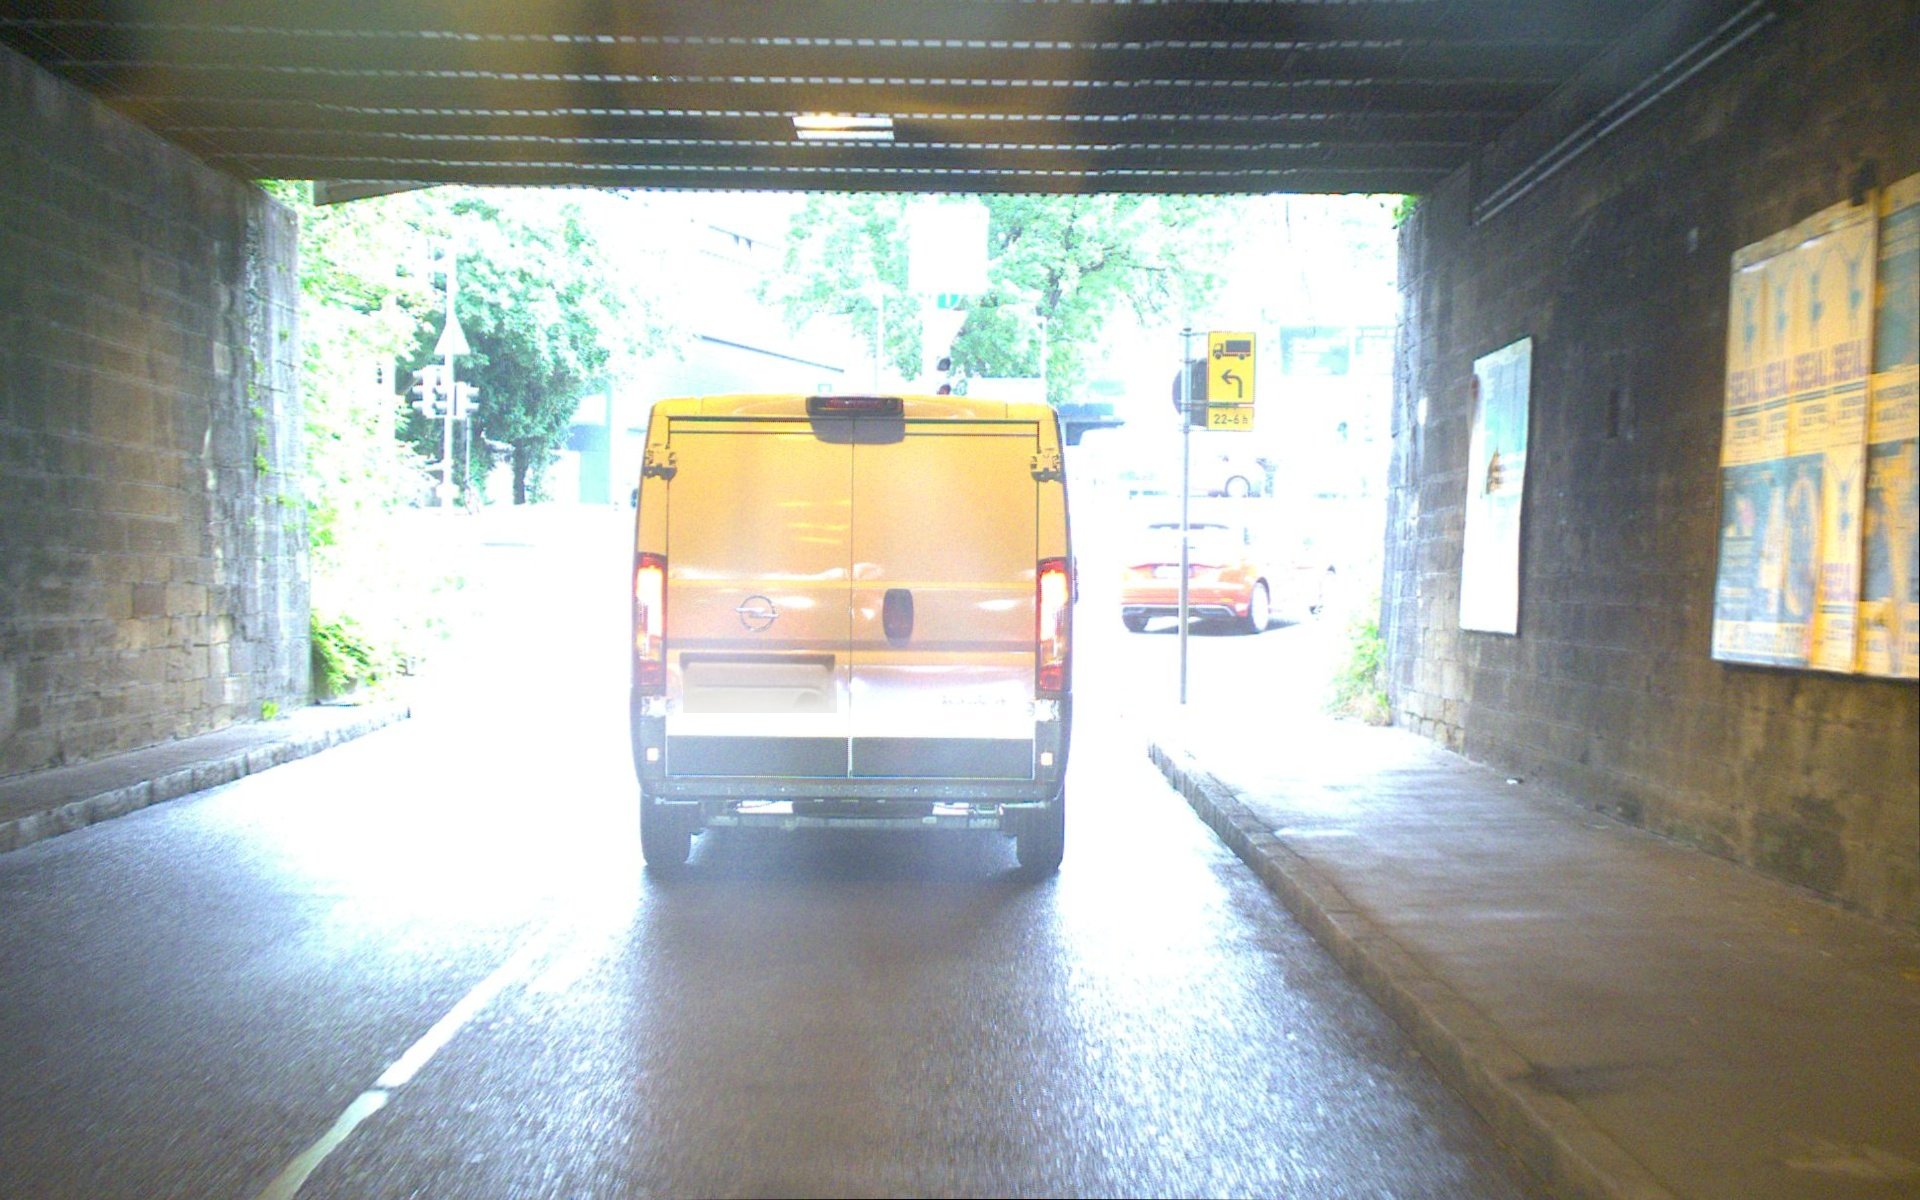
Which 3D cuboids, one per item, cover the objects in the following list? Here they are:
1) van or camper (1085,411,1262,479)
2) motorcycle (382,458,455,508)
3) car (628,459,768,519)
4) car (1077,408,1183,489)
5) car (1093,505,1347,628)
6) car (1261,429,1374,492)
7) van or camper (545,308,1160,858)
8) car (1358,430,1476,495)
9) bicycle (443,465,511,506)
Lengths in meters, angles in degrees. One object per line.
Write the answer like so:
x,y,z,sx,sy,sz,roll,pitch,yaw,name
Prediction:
6.509,-4.697,104.538,5.309,2.007,2.078,0,1,6,van or camper
-15.334,-3.305,97.327,1.987,1.417,0.659,0,1,-4,motorcycle
-7.617,-3.225,100.256,1.998,1.682,3.992,1,2,35,car
4.207,-3.736,85.425,1.993,1.941,4.001,0,1,-7,car
3.274,-0.432,42.530,1.838,1.433,4.098,-1,1,24,car
8.887,-3.465,85.788,1.993,1.481,4.001,0,1,-7,car
-0.485,-0.050,17.615,2.698,2.408,4.903,0,-1,0,van or camper
11.351,-3.411,85.675,1.993,1.534,4.001,0,1,-7,car
-13.636,-3.228,97.129,0.928,1.124,2.288,0,1,21,bicycle
